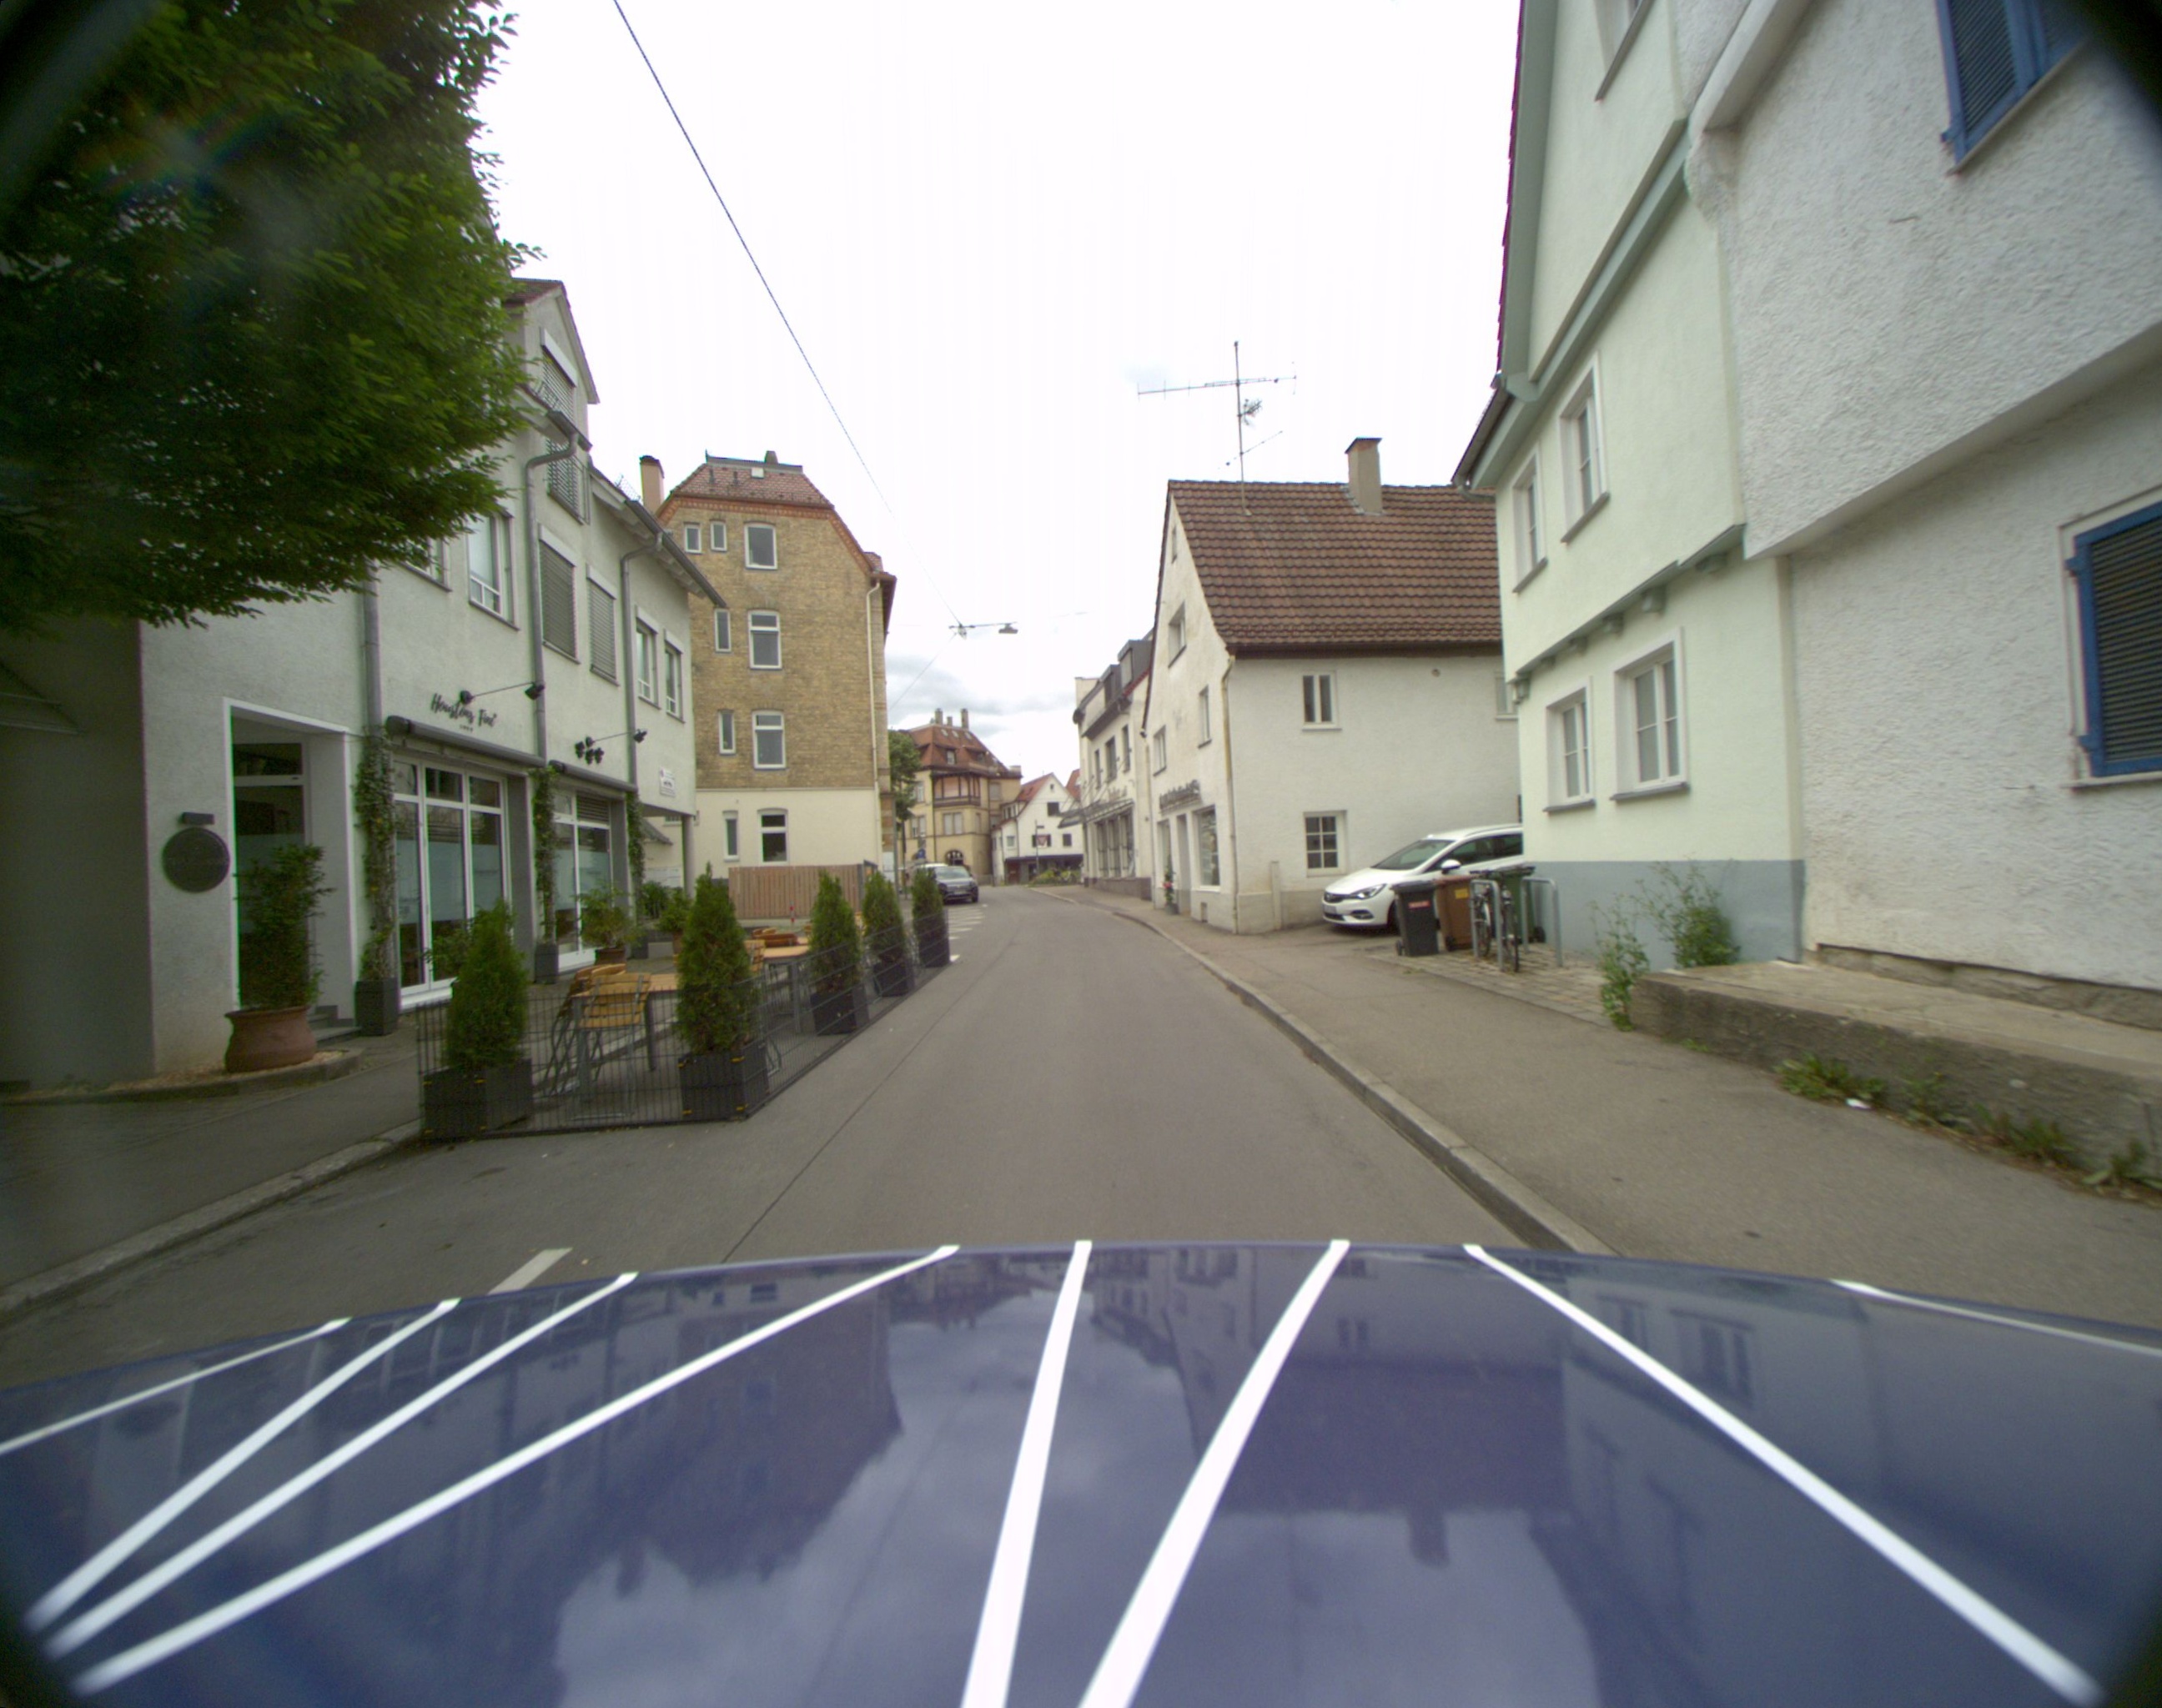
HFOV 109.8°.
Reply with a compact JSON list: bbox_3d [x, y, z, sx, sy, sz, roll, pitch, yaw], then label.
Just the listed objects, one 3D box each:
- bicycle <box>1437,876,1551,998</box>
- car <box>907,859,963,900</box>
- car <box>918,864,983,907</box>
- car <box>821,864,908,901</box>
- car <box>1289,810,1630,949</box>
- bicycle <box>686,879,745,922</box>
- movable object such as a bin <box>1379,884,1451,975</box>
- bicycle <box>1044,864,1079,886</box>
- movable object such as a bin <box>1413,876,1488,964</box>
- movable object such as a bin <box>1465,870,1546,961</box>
[{"bbox_3d":[4.285,0.796,8.037,0.443,1.032,2.095,-7,-2,14],"label":"bicycle"},{"bbox_3d":[-7.182,1.240,37.027,1.833,1.781,4.212,-3,-1,-22],"label":"car"},{"bbox_3d":[-5.626,1.286,32.363,1.795,1.591,4.535,-3,0,-21],"label":"car"},{"bbox_3d":[-11.664,1.520,41.151,4.017,1.694,1.863,-3,1,7],"label":"car"},{"bbox_3d":[6.037,0.338,12.458,4.550,1.492,1.976,-8,3,-5],"label":"car"},{"bbox_3d":[-10.792,1.358,22.522,0.962,1.211,2.099,0,-2,-8],"label":"bicycle"},{"bbox_3d":[4.050,0.904,9.248,0.554,0.994,0.587,-8,-2,11],"label":"movable object such as a bin"},{"bbox_3d":[-1.228,1.292,47.590,1.983,1.232,0.743,-3,-1,-27],"label":"bicycle"},{"bbox_3d":[4.585,0.810,9.474,0.570,0.994,0.600,-8,-3,9],"label":"movable object such as a bin"},{"bbox_3d":[5.160,0.738,9.275,0.556,0.994,0.623,-9,-2,10],"label":"movable object such as a bin"}]
